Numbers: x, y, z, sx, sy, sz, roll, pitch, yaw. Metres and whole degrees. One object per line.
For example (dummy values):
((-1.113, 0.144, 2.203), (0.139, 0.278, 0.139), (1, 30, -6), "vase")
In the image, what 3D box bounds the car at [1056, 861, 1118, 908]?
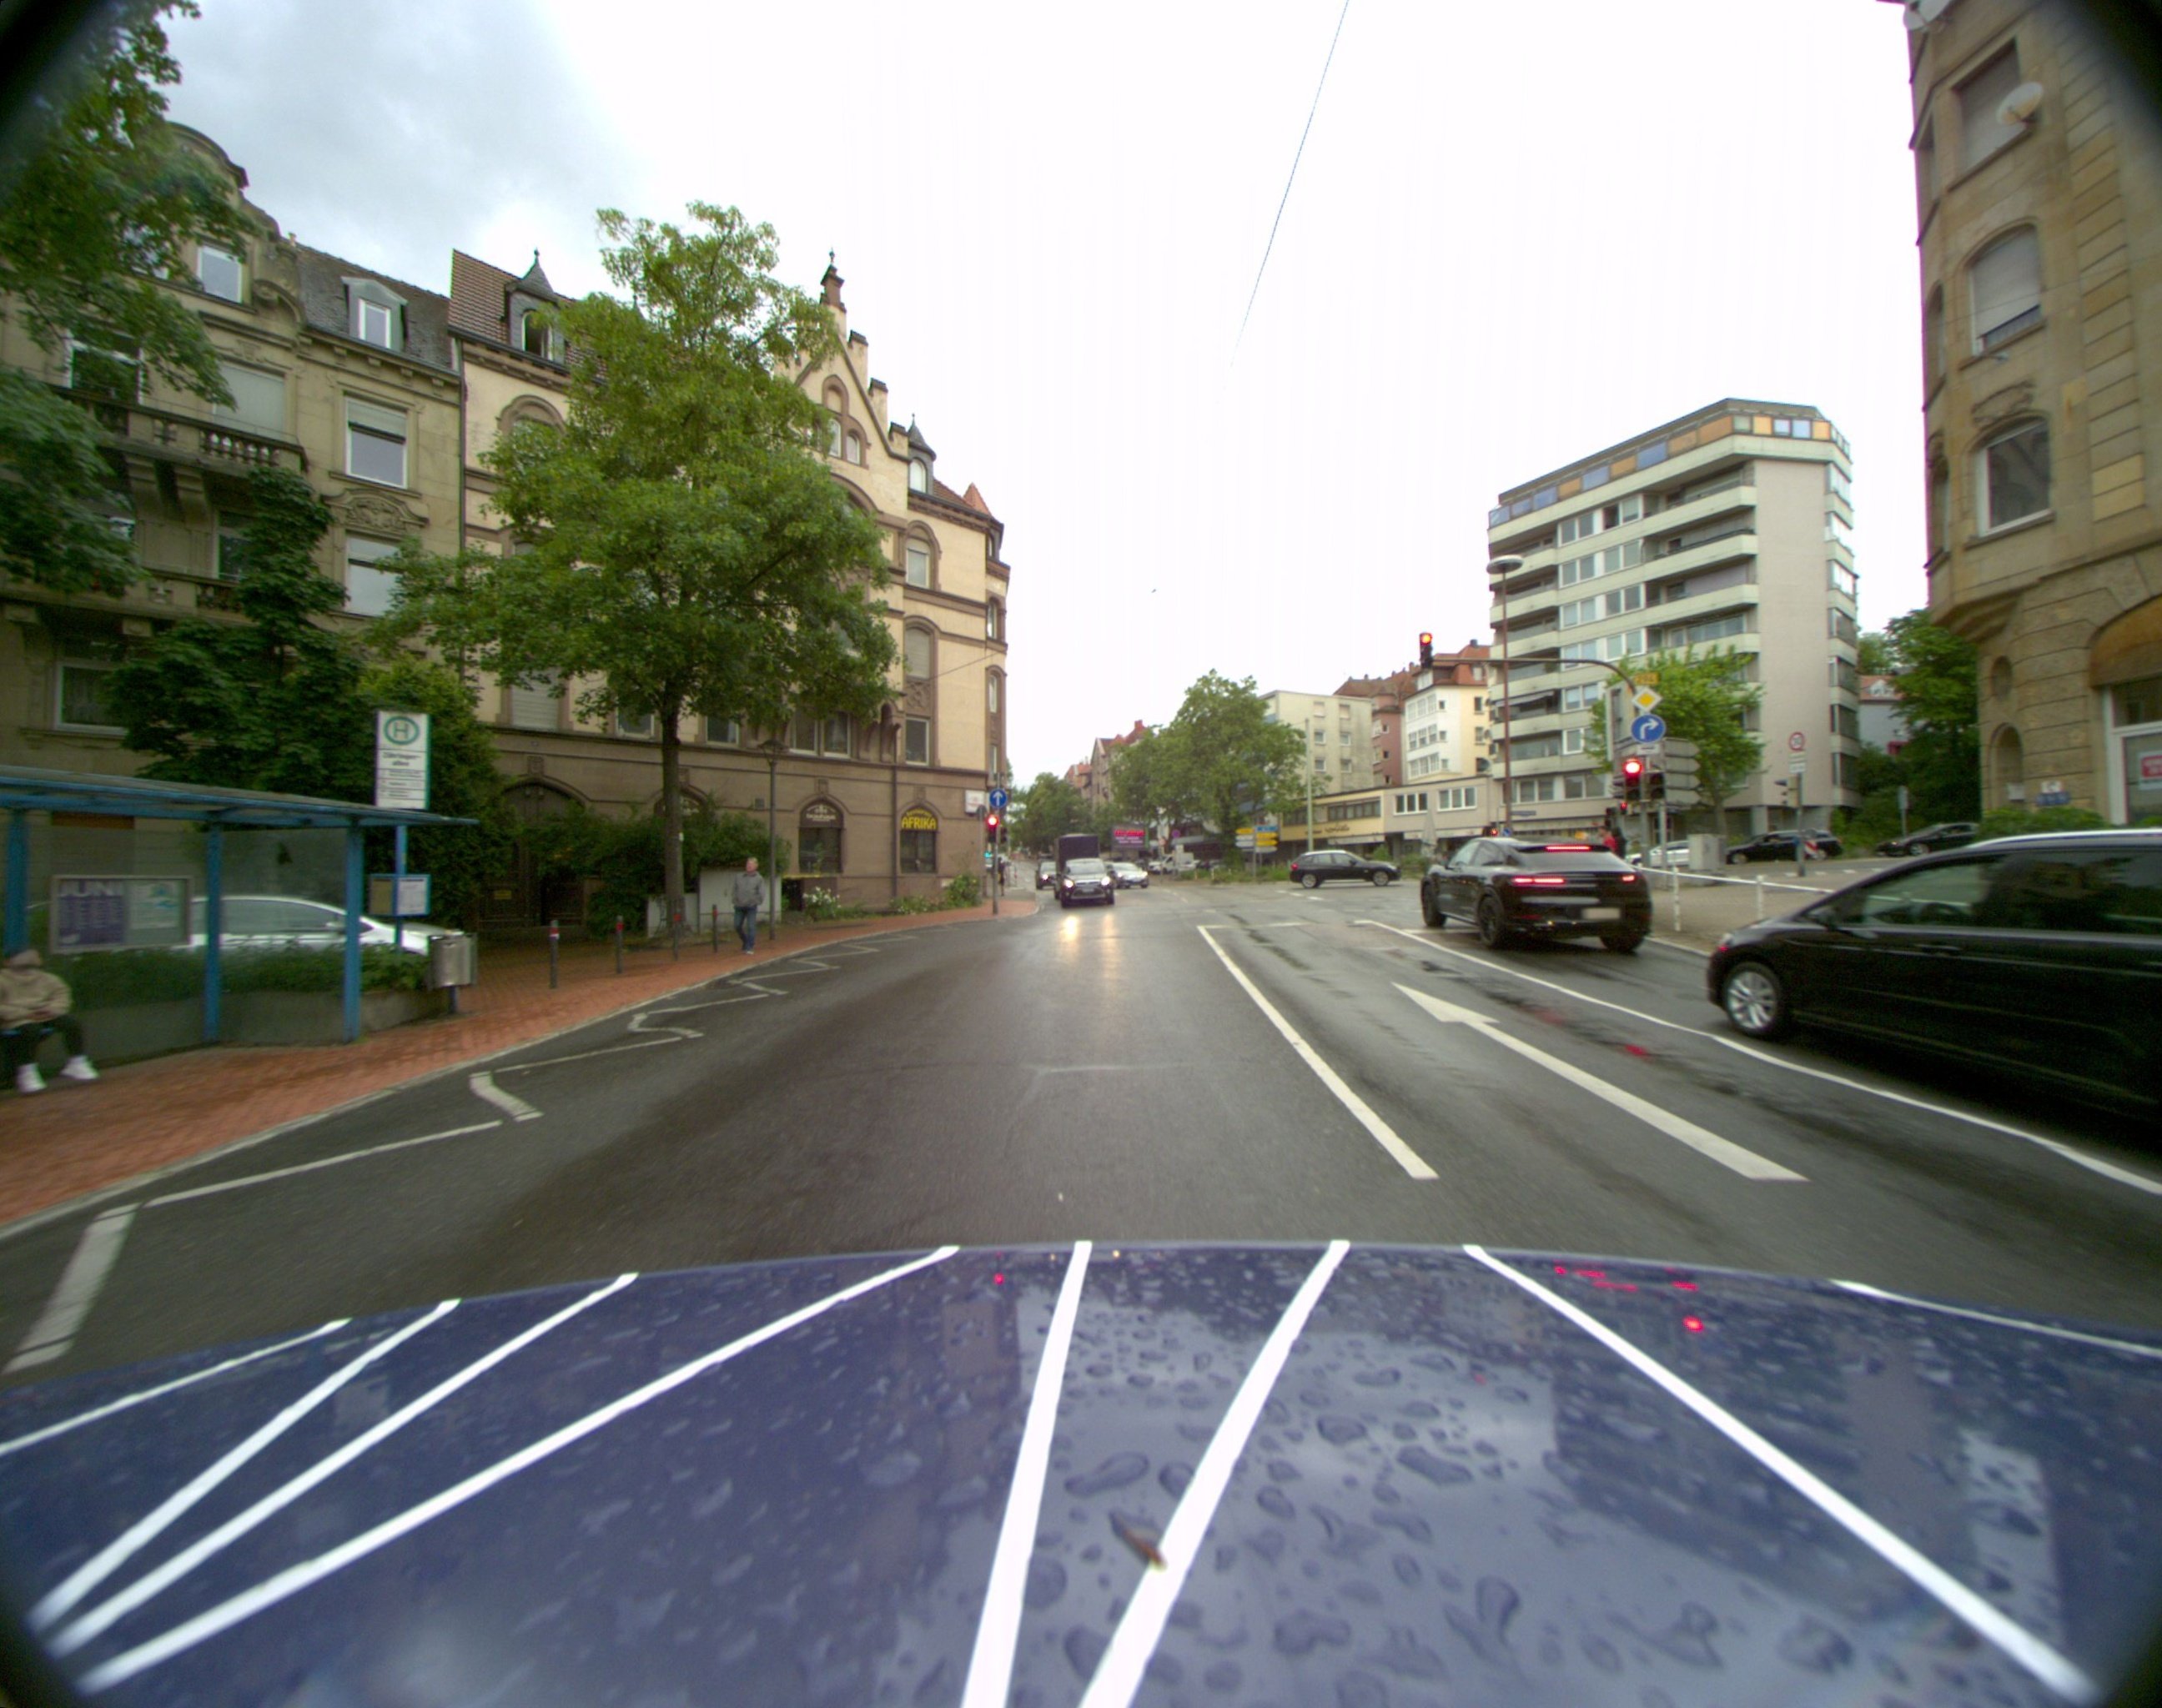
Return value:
((0.270, 1.026, 26.948), (1.861, 1.503, 3.684), (0, 0, 6), "car")

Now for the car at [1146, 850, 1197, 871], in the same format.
((9.384, 0.648, 78.439), (4.983, 1.966, 1.876), (-3, 1, -28), "car")

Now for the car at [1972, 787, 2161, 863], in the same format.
((32.011, -0.919, 23.884), (4.794, 2.156, 2.003), (-2, 0, 19), "car")

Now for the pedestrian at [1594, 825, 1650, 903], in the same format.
((12.327, 0.223, 17.341), (0.638, 1.692, 0.829), (-3, 0, 2), "pedestrian")

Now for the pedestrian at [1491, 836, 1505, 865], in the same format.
((24.363, -0.205, 44.394), (0.618, 1.683, 0.626), (-2, 1, 35), "pedestrian")

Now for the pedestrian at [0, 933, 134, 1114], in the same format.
((-7.958, 1.284, 5.883), (0.570, 1.272, 0.535), (-3, 0, 10), "pedestrian")

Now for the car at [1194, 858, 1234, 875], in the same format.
((12.543, 1.121, 71.458), (3.628, 1.408, 1.626), (-3, 1, -38), "car")

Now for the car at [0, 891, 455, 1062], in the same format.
((-10.550, 1.386, 9.824), (3.681, 1.493, 1.767), (-4, 0, -41), "car")

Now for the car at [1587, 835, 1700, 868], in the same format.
((29.320, -0.110, 39.766), (4.383, 1.482, 1.917), (-3, 0, 22), "car")

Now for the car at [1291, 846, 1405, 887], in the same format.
((11.044, 0.527, 31.470), (4.204, 1.526, 1.761), (-2, 0, 26), "car")

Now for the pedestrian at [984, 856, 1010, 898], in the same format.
((-3.372, 0.911, 30.579), (0.893, 1.669, 0.831), (0, 0, 6), "pedestrian")

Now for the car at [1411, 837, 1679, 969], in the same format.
((7.055, 0.597, 12.270), (1.968, 1.683, 4.810), (-1, 1, 8), "car")

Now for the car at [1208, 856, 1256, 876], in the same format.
((13.762, 1.064, 69.129), (4.224, 1.633, 1.936), (-3, 1, -38), "car")

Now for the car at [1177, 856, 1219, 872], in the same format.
((11.322, 0.928, 73.648), (3.711, 1.408, 1.807), (-3, 1, -34), "car")

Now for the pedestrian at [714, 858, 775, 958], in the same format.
((-6.042, 0.961, 13.662), (0.572, 1.723, 0.733), (-2, 0, 27), "pedestrian")

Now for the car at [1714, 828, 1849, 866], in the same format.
((31.034, -0.283, 33.826), (4.015, 1.482, 1.770), (-3, -2, 22), "car")

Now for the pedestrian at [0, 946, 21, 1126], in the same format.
((-8.061, 1.316, 5.257), (0.570, 1.272, 0.619), (-3, 0, 11), "pedestrian")

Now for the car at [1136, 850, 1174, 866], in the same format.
((8.126, 0.423, 83.351), (3.841, 1.680, 1.802), (-2, 2, -27), "car")

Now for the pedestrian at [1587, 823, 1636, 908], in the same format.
((11.260, 0.240, 16.149), (0.523, 1.763, 0.694), (-3, 0, 6), "pedestrian")

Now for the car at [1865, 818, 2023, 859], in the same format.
((36.328, -0.600, 32.128), (4.015, 1.482, 1.770), (-3, -2, 22), "car")

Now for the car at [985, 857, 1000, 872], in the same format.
((-10.841, 1.247, 92.864), (1.527, 1.609, 3.490), (3, 1, -9), "car")

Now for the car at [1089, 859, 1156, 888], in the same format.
((2.240, 1.061, 42.359), (1.760, 1.474, 4.171), (-1, 0, -29), "car")

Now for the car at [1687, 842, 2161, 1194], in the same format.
((5.946, 0.790, 4.353), (1.624, 1.639, 4.421), (2, 0, 5), "car")

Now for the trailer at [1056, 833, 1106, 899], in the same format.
((-0.083, 0.500, 33.284), (1.939, 2.621, 4.683), (-2, 0, -2), "trailer")
